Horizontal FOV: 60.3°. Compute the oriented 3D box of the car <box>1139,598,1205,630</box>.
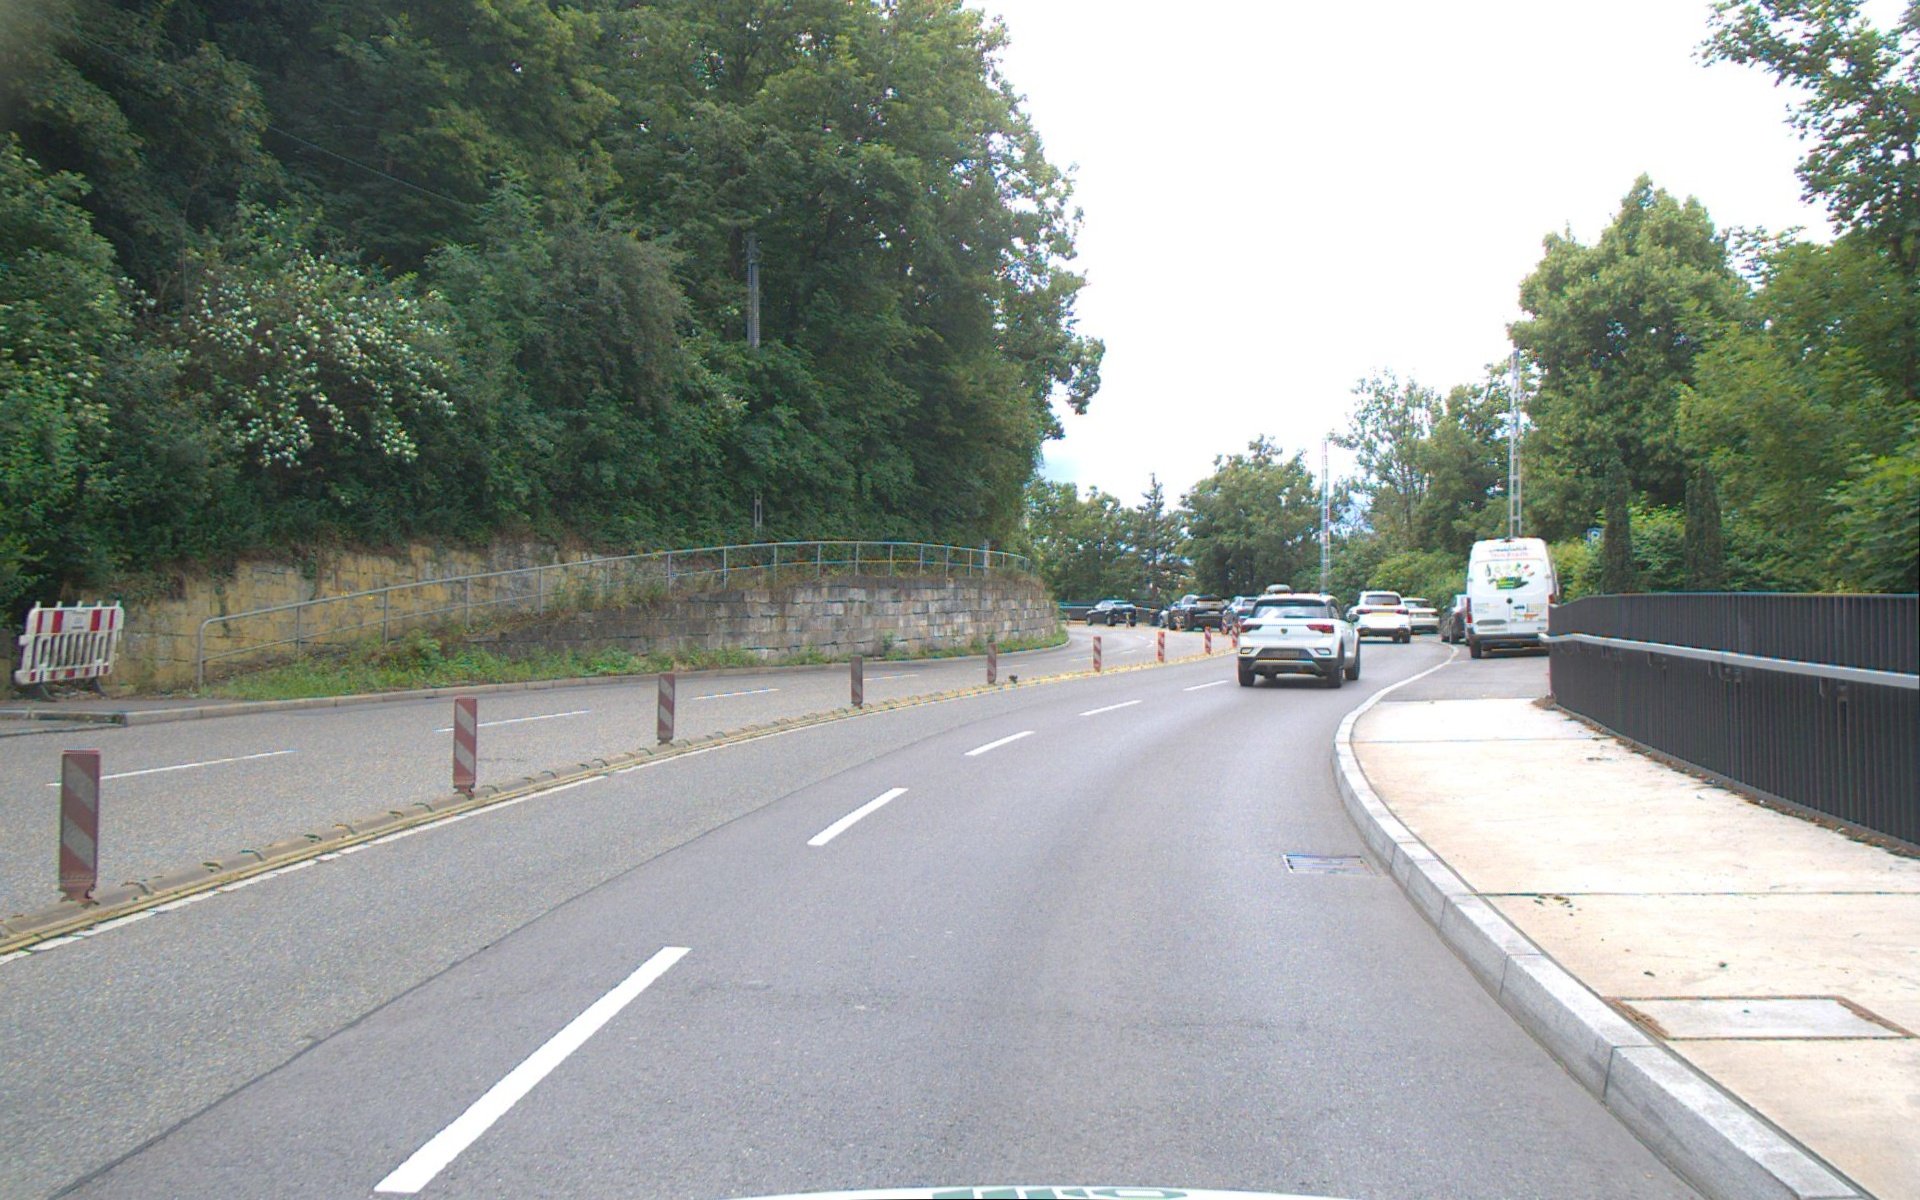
[{"bbox_3d":[11.136,0.709,87.027,1.799,1.550,3.976,3,-1,-20],"label":"car"}]

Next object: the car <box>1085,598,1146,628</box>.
[{"bbox_3d":[9.045,0.753,96.378,1.863,1.639,3.973,3,-1,-22],"label":"car"}]

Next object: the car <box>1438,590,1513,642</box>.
[{"bbox_3d":[15.604,0.476,50.283,1.664,1.489,4.668,-1,0,11],"label":"car"}]

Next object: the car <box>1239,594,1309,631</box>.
[{"bbox_3d":[15.891,0.612,83.910,1.768,1.803,4.591,2,-1,-13],"label":"car"}]

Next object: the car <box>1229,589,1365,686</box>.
[{"bbox_3d":[6.011,0.622,29.187,1.828,1.563,3.804,1,0,19],"label":"car"}]

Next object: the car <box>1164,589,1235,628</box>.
[{"bbox_3d":[11.180,0.388,77.445,1.786,1.719,3.983,3,-1,-15],"label":"car"}]

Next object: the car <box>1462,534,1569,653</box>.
[{"bbox_3d":[13.306,-0.130,39.384,2.042,2.567,5.844,-2,-1,22],"label":"car"}]

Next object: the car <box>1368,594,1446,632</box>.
[{"bbox_3d":[18.001,0.535,66.809,1.742,1.443,3.995,-1,0,-6],"label":"car"}]

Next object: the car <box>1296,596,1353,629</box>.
[{"bbox_3d":[17.102,0.597,77.802,1.608,1.490,3.998,1,-1,-3],"label":"car"}]

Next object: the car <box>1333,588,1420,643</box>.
[{"bbox_3d":[13.564,0.517,54.062,1.952,1.614,4.001,2,-1,3],"label":"car"}]
